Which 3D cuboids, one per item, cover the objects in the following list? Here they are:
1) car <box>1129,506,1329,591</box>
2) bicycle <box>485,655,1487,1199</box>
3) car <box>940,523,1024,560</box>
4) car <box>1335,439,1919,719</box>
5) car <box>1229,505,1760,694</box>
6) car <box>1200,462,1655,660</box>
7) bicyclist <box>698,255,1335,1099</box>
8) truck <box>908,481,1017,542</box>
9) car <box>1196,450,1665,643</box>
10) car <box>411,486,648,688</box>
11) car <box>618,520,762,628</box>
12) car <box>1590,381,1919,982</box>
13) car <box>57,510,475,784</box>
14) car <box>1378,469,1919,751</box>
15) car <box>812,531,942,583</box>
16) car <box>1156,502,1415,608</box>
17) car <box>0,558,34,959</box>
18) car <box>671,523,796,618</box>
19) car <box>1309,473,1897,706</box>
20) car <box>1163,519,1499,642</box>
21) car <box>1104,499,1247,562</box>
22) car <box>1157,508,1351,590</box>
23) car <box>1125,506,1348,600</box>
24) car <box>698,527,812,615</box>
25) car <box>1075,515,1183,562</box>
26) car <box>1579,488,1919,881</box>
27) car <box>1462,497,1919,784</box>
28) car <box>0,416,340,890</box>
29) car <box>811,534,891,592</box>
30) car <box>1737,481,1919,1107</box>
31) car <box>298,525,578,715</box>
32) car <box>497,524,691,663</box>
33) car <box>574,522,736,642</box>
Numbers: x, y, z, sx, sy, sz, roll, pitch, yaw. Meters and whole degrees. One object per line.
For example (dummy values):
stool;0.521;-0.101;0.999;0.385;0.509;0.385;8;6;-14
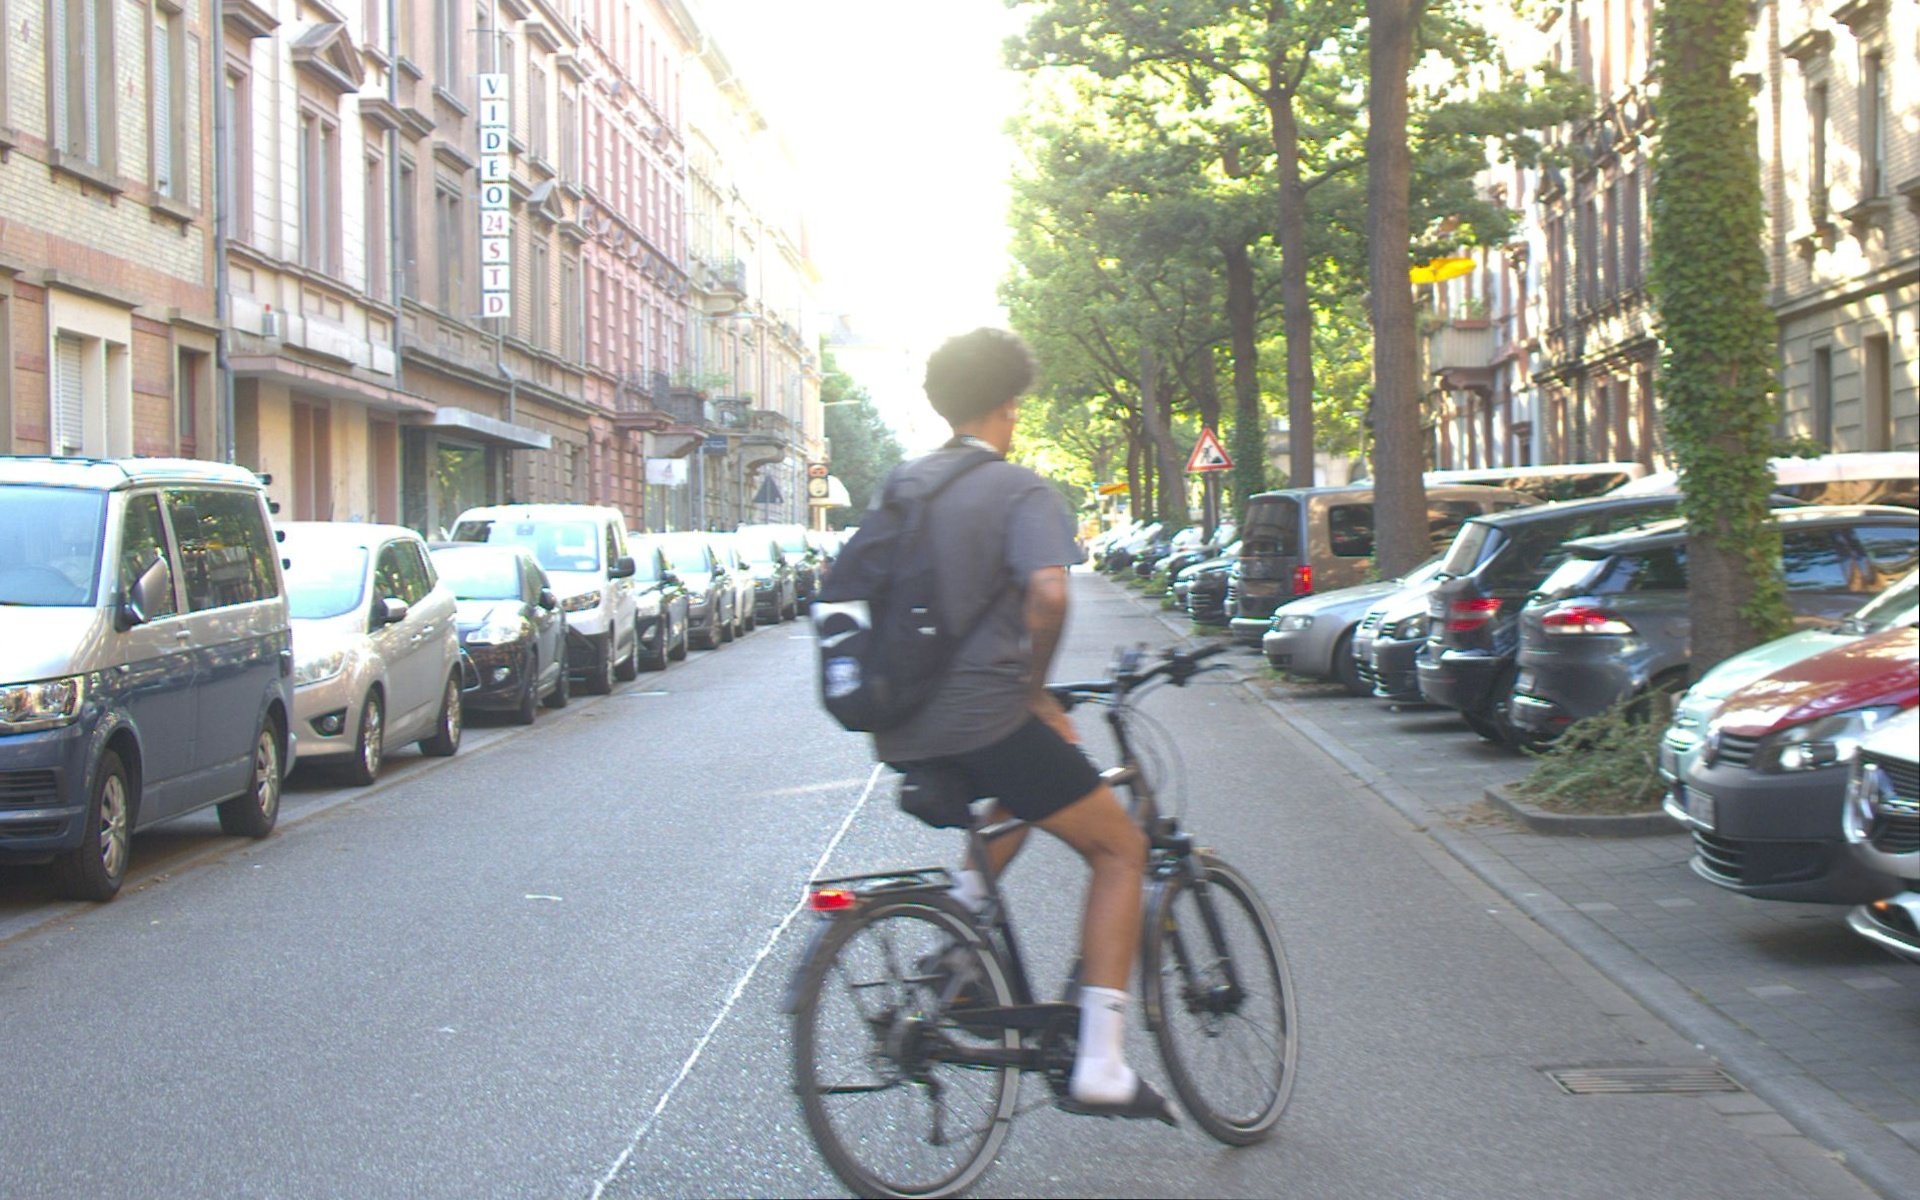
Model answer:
car;5.597;-1.073;71.784;3.849;1.568;1.718;-3;1;-6
bicycle;0.206;0.748;8.085;0.997;1.154;2.918;-1;1;31
car;1.097;-2.942;172.876;3.988;1.853;1.750;0;1;10
car;4.959;-0.178;24.850;4.221;1.770;1.835;-3;1;0
car;4.592;-0.028;29.946;4.220;1.398;1.835;-3;1;-3
car;4.822;-0.418;35.574;4.220;1.788;1.836;-3;1;-18
bicyclist;0.156;0.157;8.037;0.997;1.784;1.205;-1;0;31
truck;0.178;-5.979;233.137;7.223;3.936;2.437;1;1;-35
car;5.313;-0.617;39.295;5.057;1.919;1.835;-3;1;2
car;-4.185;-0.168;34.056;1.758;1.835;4.530;-1;1;0
car;-3.896;-0.411;50.123;1.758;1.468;4.059;-1;1;0
car;4.676;0.121;12.146;4.443;1.917;1.850;-3;2;-1
car;-4.455;0.235;22.715;1.753;1.603;4.384;1;1;1
car;4.819;0.033;22.087;4.010;1.601;1.734;-3;1;1
car;-2.502;-1.294;104.438;1.997;1.481;3.992;-1;-1;34
car;5.133;-0.726;54.499;3.850;1.474;1.718;-3;1;-2
car;-4.396;0.600;11.152;1.593;1.470;3.699;1;1;3
car;-3.679;-0.516;56.369;1.758;1.468;4.059;-1;1;0
car;5.098;-0.104;27.553;4.220;1.605;1.835;-3;1;-6
car;4.513;-0.253;42.186;3.850;1.289;1.718;-3;1;-2
car;6.031;-1.963;96.564;3.850;1.568;1.718;-3;1;1
car;6.329;-1.098;74.169;3.849;1.568;1.718;-3;1;-6
car;5.167;-0.884;64.459;3.849;1.568;1.718;-3;1;-6
car;-3.615;-0.545;61.135;1.758;1.468;4.059;-1;1;0
car;6.234;-2.274;126.879;3.850;1.568;1.718;-3;1;1
car;4.695;0.236;14.562;3.658;1.450;1.850;-4;2;-5
car;5.006;0.174;19.557;4.010;1.462;1.734;-3;1;1
car;-4.474;0.151;16.736;1.832;1.936;5.260;1;1;1
car;-2.956;-0.989;93.779;1.993;1.481;4.000;-1;-1;0
car;4.574;0.352;9.563;4.344;1.551;1.850;-3;2;1
car;-4.351;0.118;29.173;1.758;1.462;4.000;1;1;0
car;-4.116;-0.112;39.156;1.758;1.468;4.059;-1;1;0
car;-3.963;-0.268;45.254;1.758;1.468;4.059;-1;1;0
